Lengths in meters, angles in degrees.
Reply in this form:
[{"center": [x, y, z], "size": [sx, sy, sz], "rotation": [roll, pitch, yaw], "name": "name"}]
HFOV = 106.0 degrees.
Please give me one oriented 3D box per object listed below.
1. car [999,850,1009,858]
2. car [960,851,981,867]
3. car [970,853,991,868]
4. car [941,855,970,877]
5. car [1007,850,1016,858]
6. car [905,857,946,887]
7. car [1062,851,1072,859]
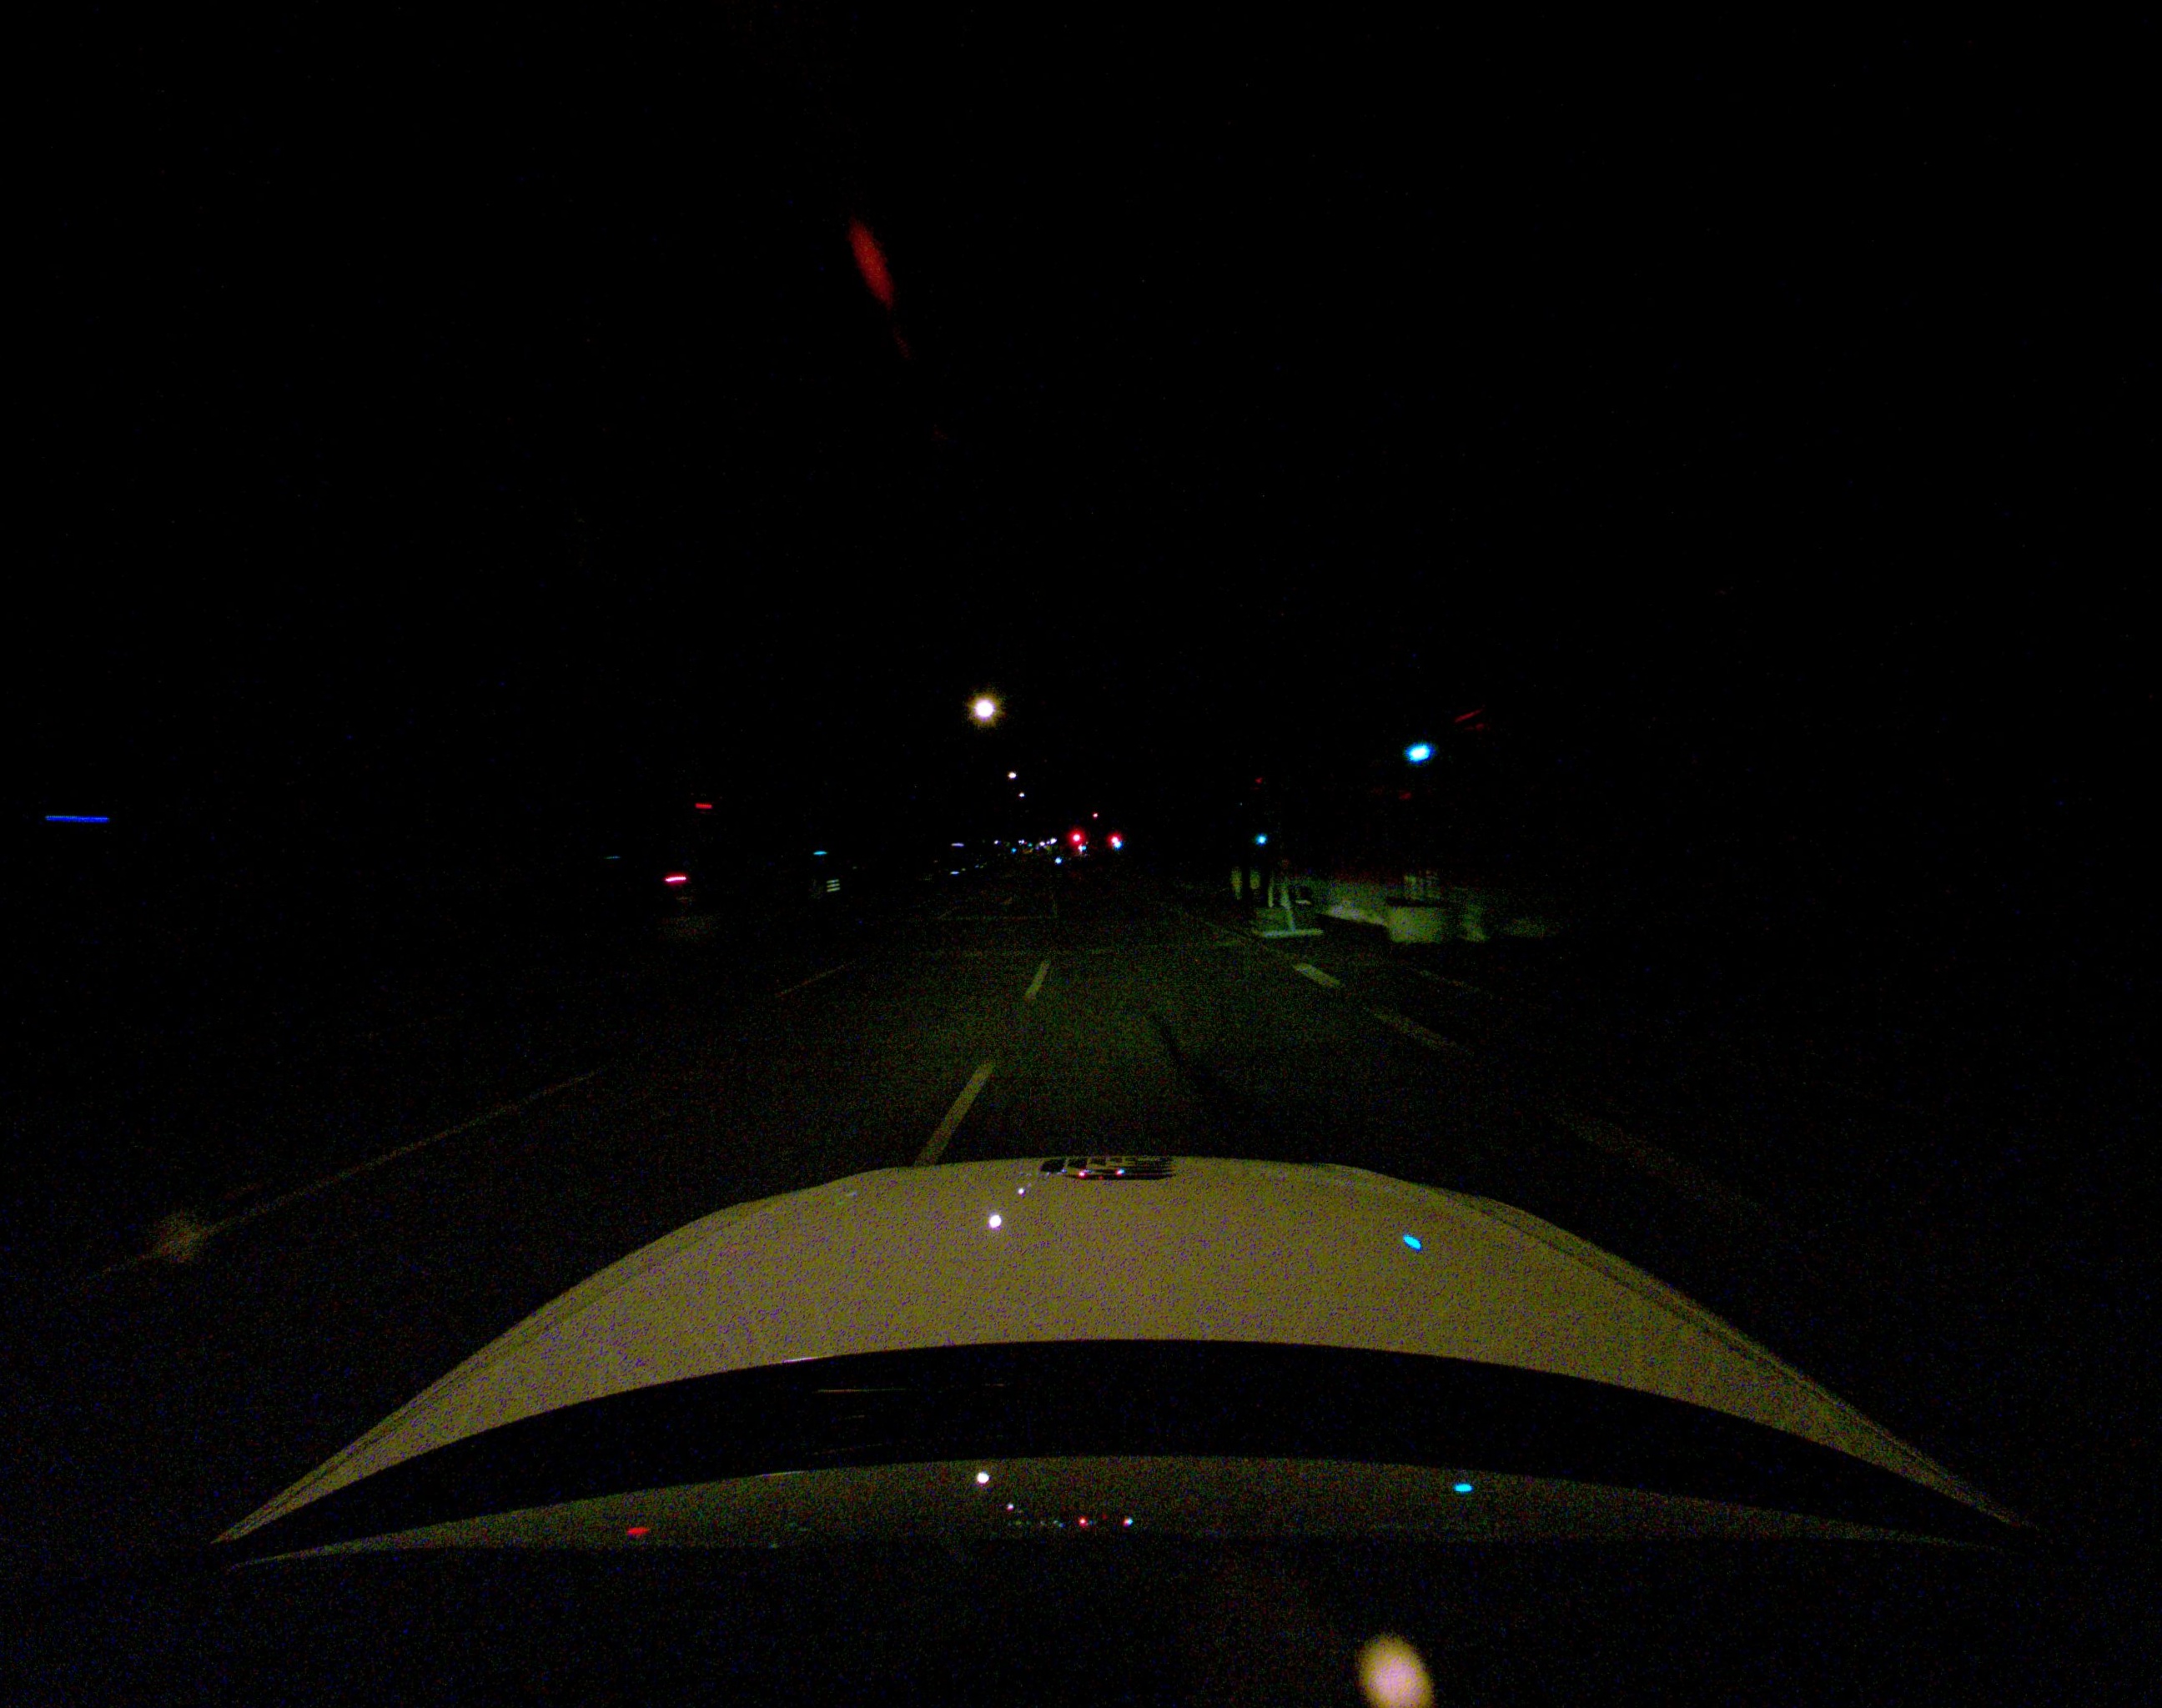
[{"center": [-13.564, -0.004, 143.582], "size": [1.647, 1.431, 3.996], "rotation": [-2, 1, -3], "name": "car"}, {"center": [-10.138, 0.419, 74.891], "size": [1.620, 1.382, 4.443], "rotation": [-2, 0, -6], "name": "car"}, {"center": [-10.819, 0.697, 87.838], "size": [1.895, 1.471, 4.448], "rotation": [0, 1, -3], "name": "car"}, {"center": [-9.409, 0.884, 61.486], "size": [1.765, 1.485, 4.760], "rotation": [-2, 0, -5], "name": "car"}, {"center": [-14.542, -0.037, 170.177], "size": [1.647, 1.431, 3.996], "rotation": [-2, 1, -3], "name": "car"}, {"center": [-8.609, 0.946, 45.306], "size": [1.710, 1.494, 3.985], "rotation": [-1, 1, -3], "name": "car"}, {"center": [-2.505, 0.185, 146.808], "size": [1.647, 1.431, 3.998], "rotation": [-2, 1, -1], "name": "car"}]
